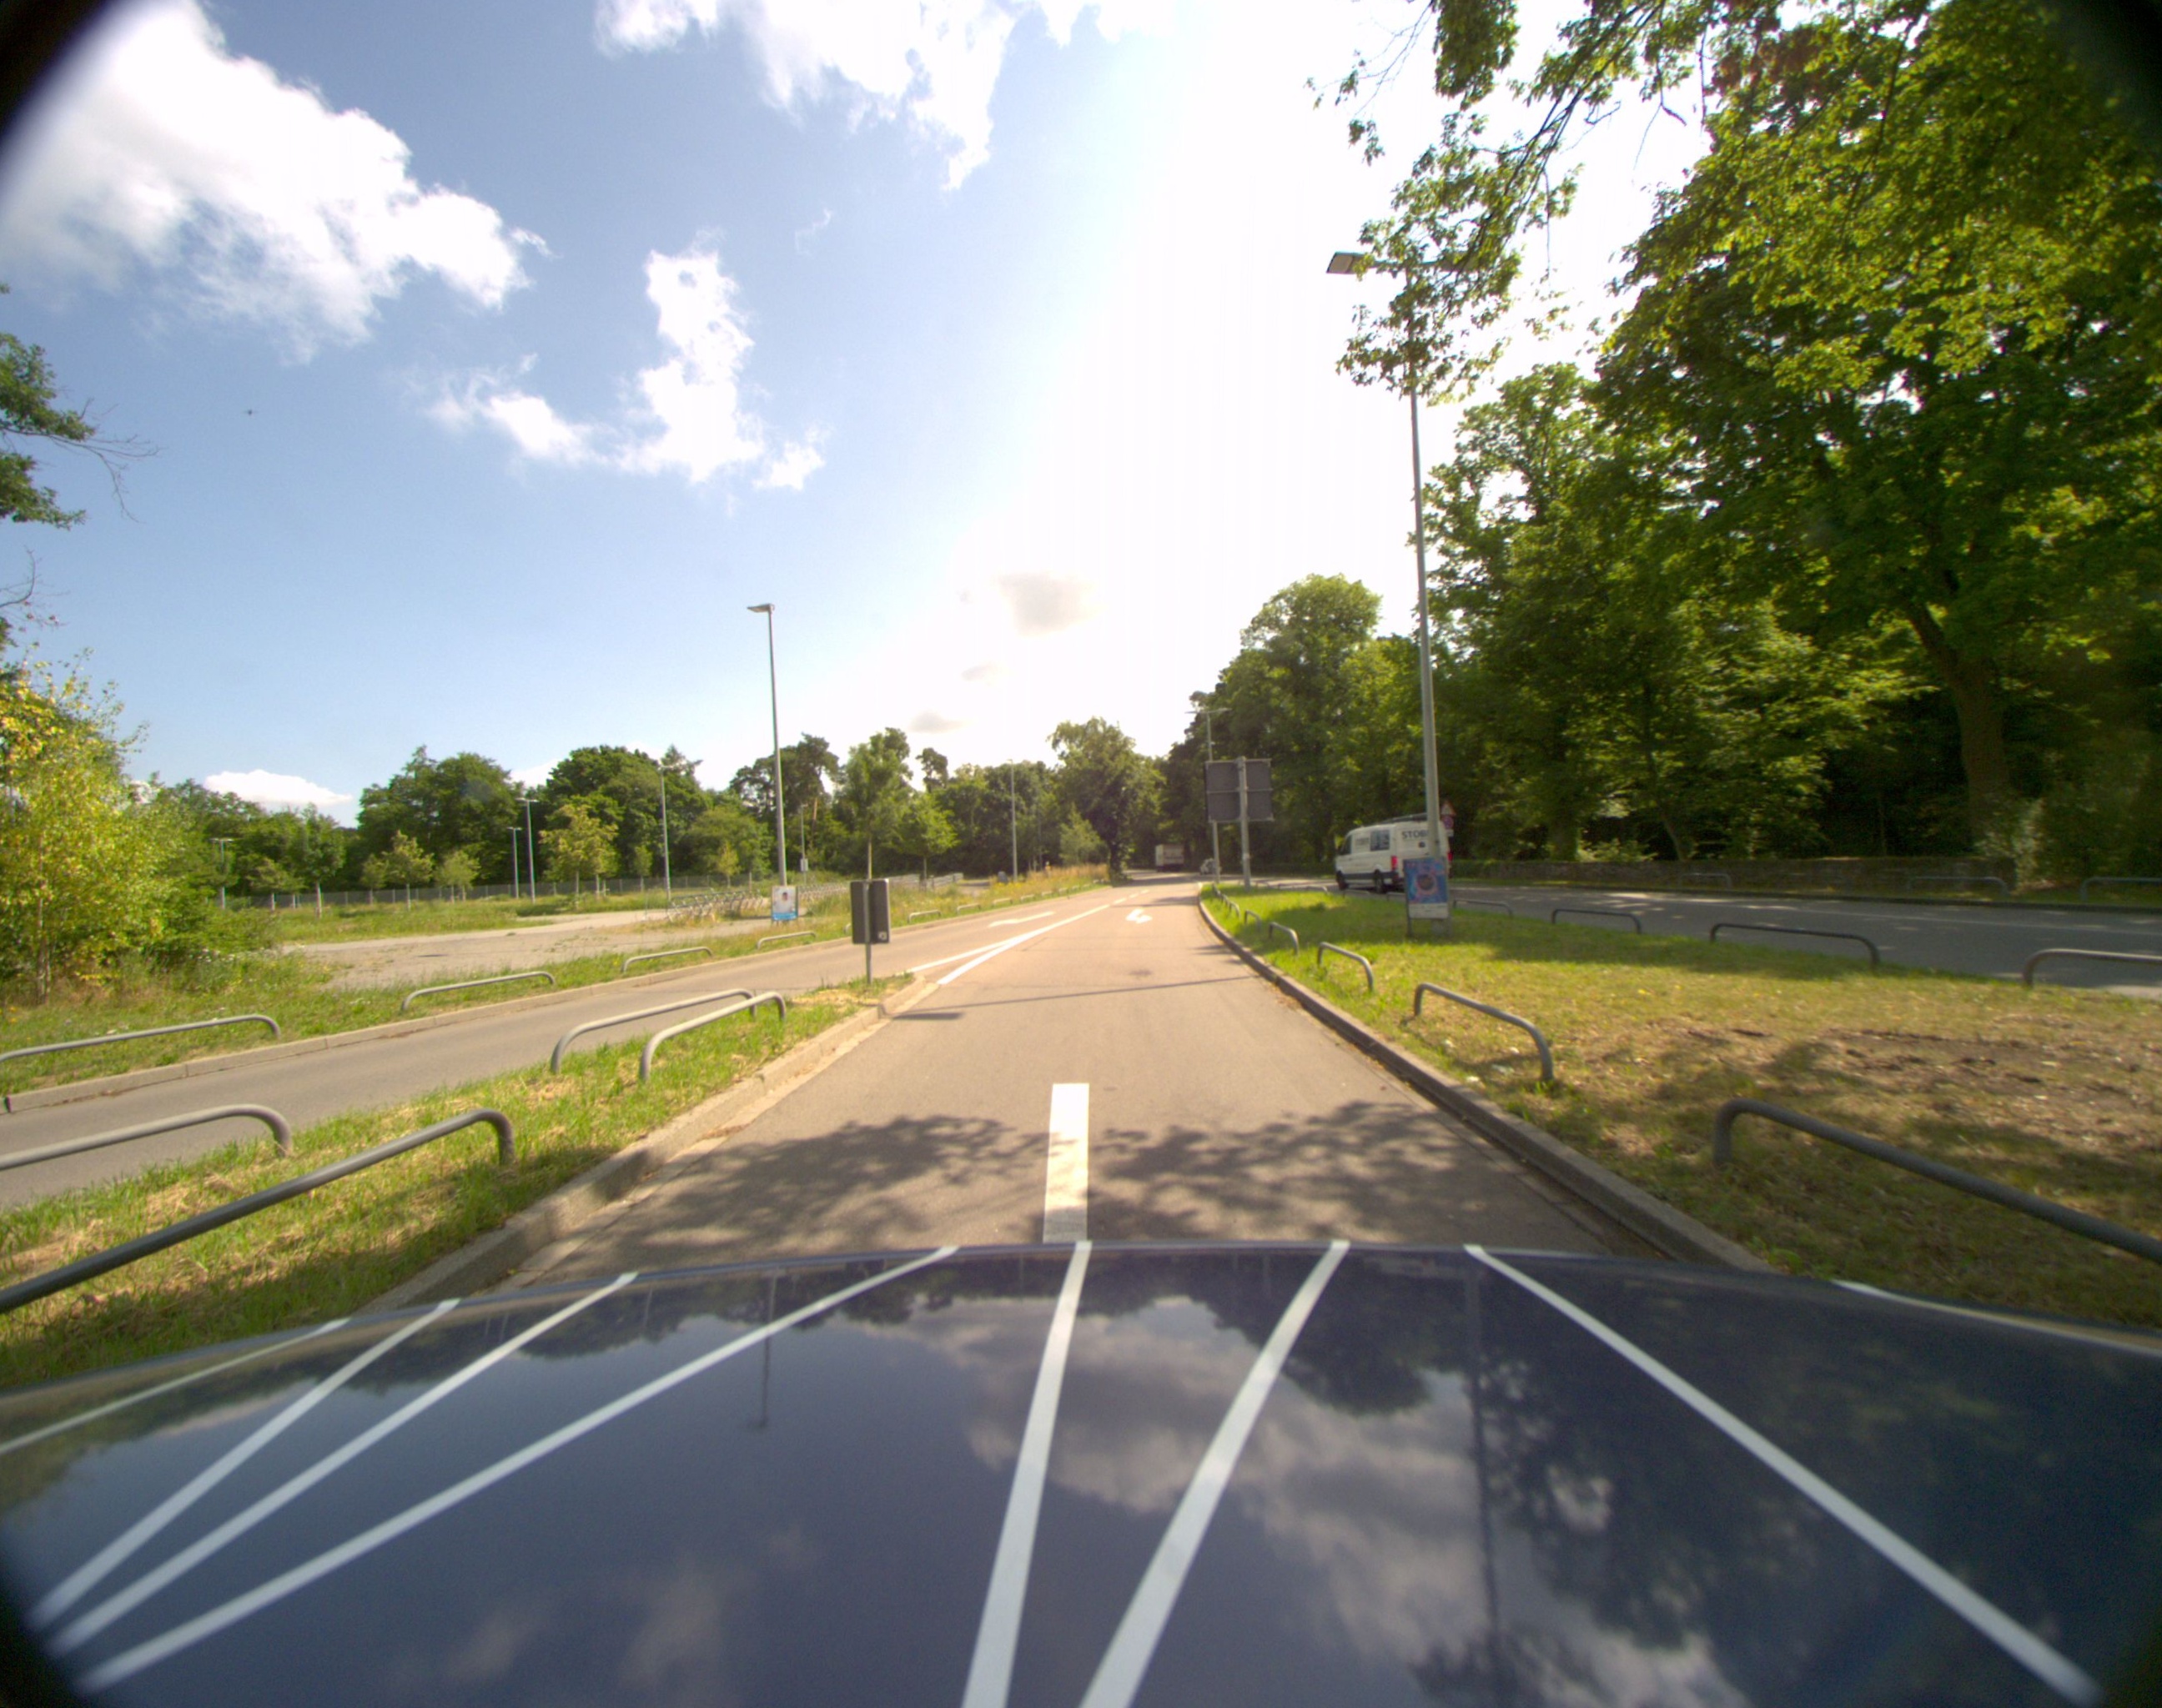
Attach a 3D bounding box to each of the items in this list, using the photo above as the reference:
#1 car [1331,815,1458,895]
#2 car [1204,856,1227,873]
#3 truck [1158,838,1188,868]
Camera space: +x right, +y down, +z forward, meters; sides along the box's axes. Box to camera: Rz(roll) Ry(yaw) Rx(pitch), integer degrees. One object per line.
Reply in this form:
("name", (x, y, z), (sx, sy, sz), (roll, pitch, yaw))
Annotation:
("car", (10.853, 0.020, 26.834), (1.980, 2.417, 5.361), (-4, 1, -2))
("car", (12.755, 0.954, 72.442), (1.655, 1.461, 3.871), (-2, 1, 3))
("truck", (11.715, -0.156, 97.029), (2.914, 3.609, 7.004), (-2, 1, 1))
